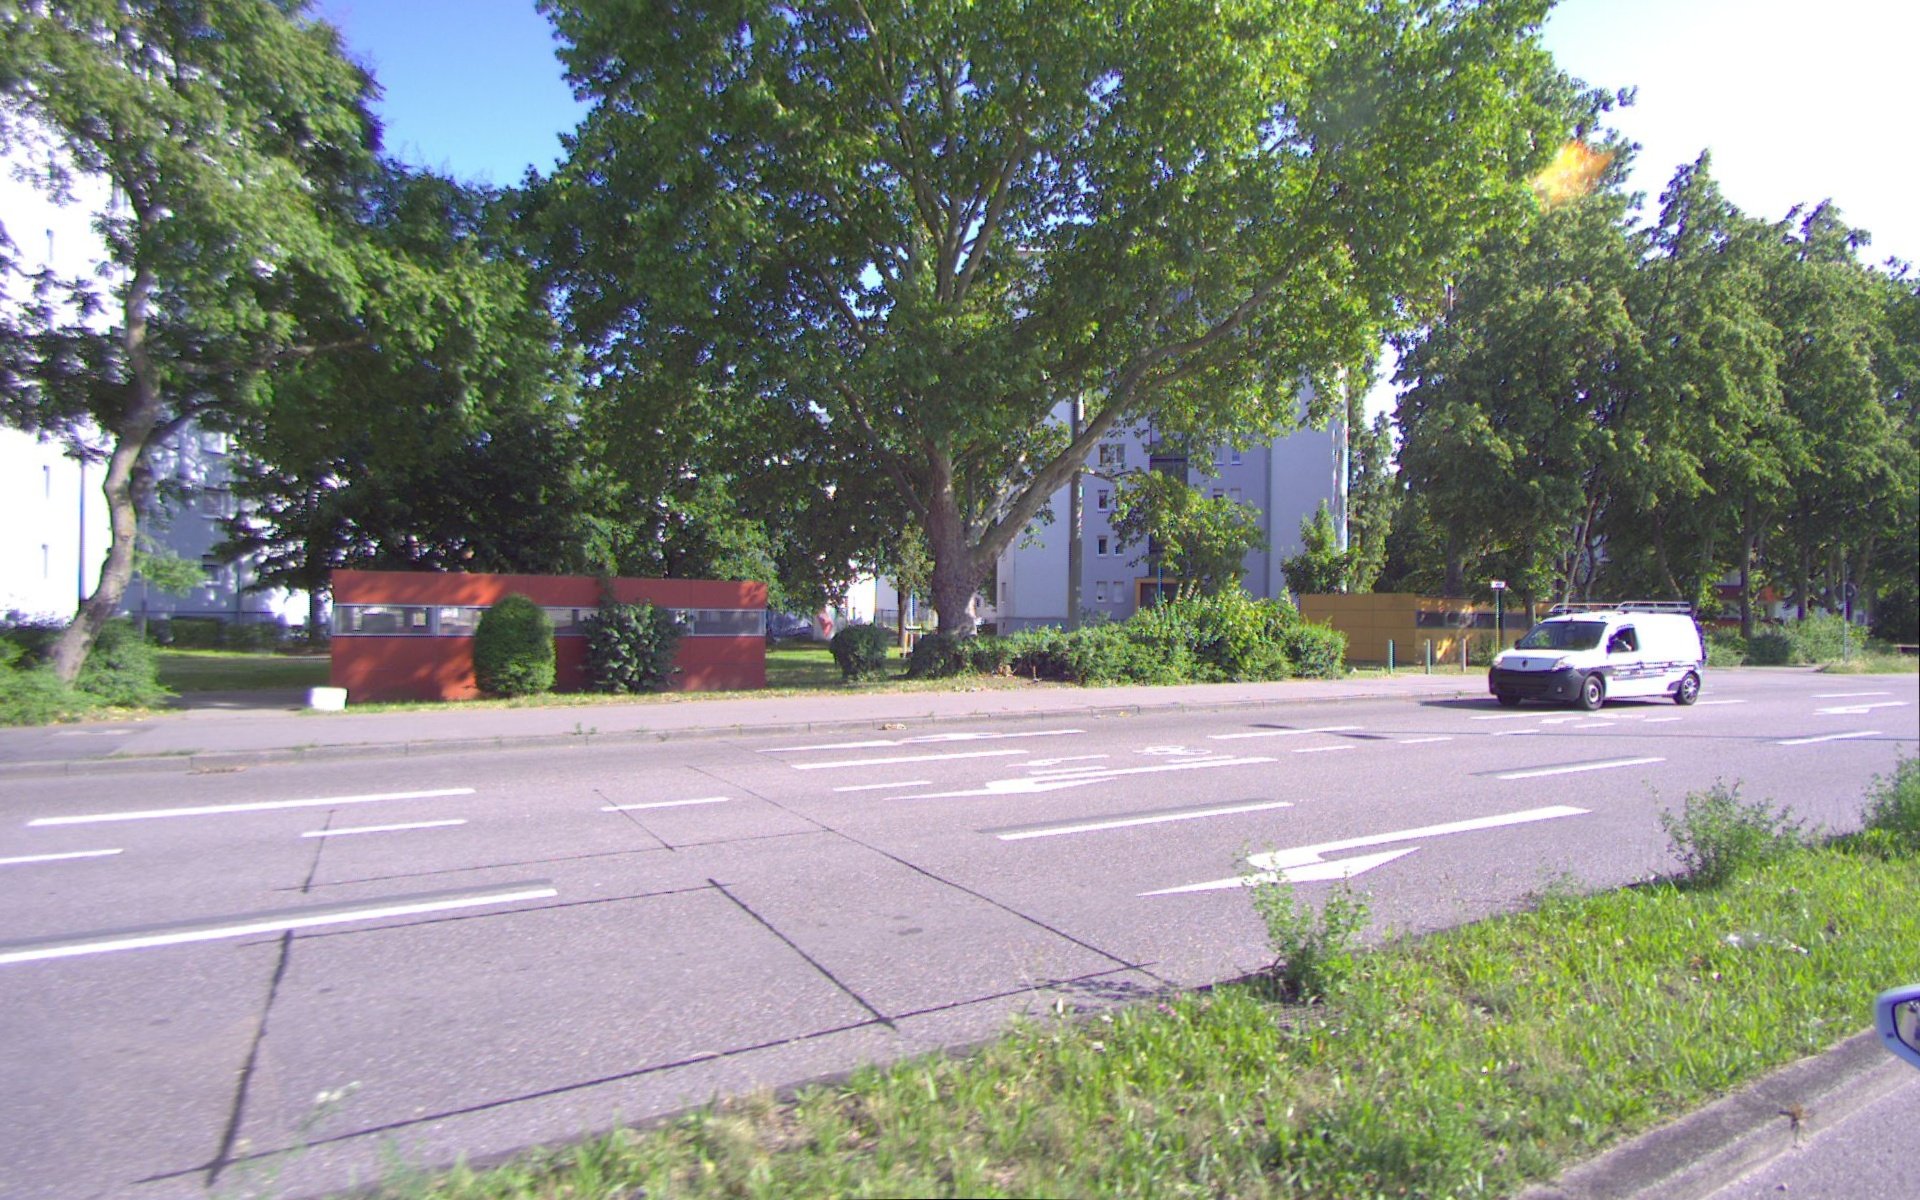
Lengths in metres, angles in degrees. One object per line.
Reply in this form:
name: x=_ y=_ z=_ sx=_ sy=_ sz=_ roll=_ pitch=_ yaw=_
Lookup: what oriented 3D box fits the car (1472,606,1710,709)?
car: x=12.160 y=1.056 z=19.311 sx=4.509 sy=1.796 sz=1.783 roll=1 pitch=-1 yaw=-26
